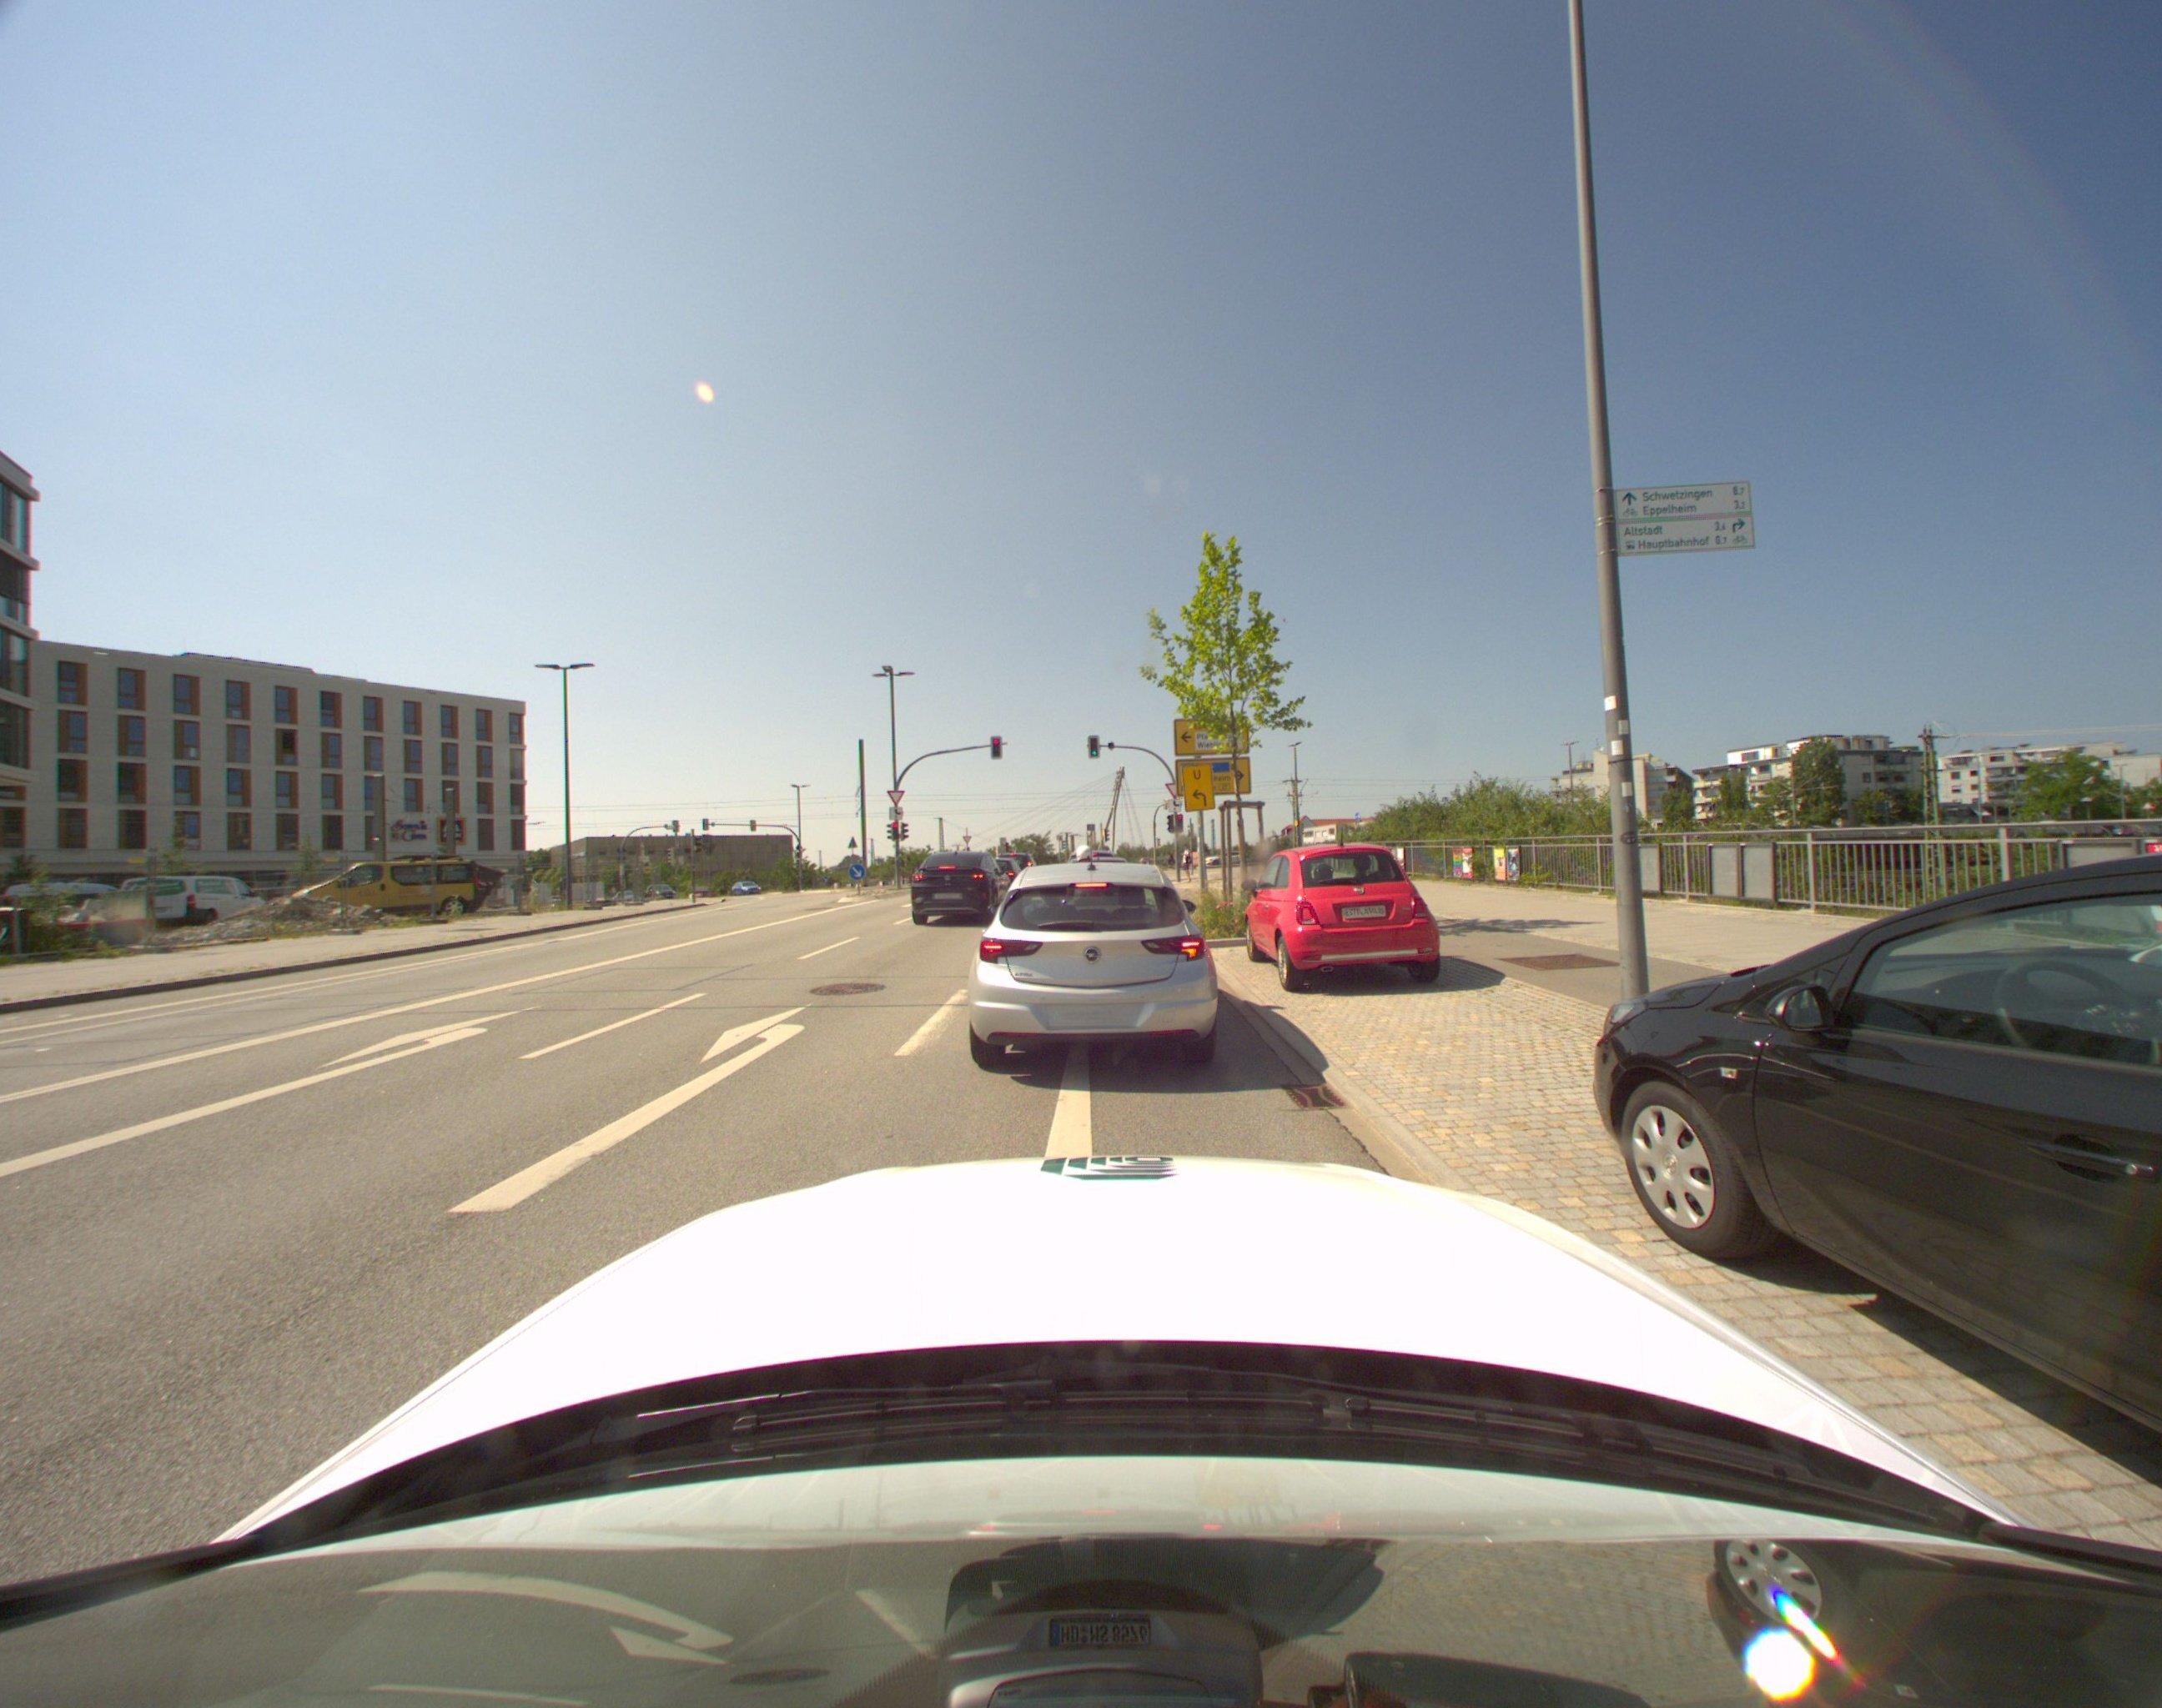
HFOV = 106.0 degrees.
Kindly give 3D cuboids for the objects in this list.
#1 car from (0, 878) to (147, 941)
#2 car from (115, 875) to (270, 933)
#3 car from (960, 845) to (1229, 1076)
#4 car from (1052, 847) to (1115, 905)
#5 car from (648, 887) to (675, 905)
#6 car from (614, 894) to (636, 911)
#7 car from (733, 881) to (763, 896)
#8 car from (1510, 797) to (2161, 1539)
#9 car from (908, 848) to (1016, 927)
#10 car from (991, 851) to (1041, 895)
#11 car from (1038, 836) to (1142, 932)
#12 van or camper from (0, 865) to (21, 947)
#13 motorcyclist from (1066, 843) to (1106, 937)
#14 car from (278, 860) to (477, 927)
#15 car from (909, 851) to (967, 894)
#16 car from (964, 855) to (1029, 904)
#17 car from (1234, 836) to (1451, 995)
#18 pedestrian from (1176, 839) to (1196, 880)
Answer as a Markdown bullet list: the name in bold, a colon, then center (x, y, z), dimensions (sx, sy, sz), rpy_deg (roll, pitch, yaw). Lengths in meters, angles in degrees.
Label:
- **car**: center (-33.637, 1.772, 27.234), dimensions (1.794, 1.857, 3.818), rpy_deg (0, -1, -26)
- **car**: center (-31.038, 1.686, 28.676), dimensions (1.873, 1.774, 4.619), rpy_deg (0, -1, -22)
- **car**: center (0.071, 0.701, 7.272), dimensions (1.738, 1.478, 3.998), rpy_deg (0, -1, -1)
- **car**: center (0.135, 0.592, 24.465), dimensions (1.717, 1.563, 4.002), rpy_deg (0, 1, 2)
- **car**: center (-38.563, 3.836, 74.835), dimensions (1.686, 1.476, 3.368), rpy_deg (-2, 0, -37)
- **car**: center (-46.232, 4.919, 82.527), dimensions (1.578, 1.587, 3.441), rpy_deg (0, -1, -35)
- **car**: center (-33.136, 3.440, 80.963), dimensions (1.831, 1.331, 3.954), rpy_deg (0, -2, -38)
- **car**: center (2.887, 0.576, 1.932), dimensions (1.654, 1.426, 4.001), rpy_deg (-2, -1, 1)
- **car**: center (-2.691, 0.727, 19.363), dimensions (1.795, 1.641, 4.367), rpy_deg (0, -1, 2)
- **car**: center (-2.465, 0.701, 31.754), dimensions (1.644, 1.615, 3.819), rpy_deg (0, -1, 0)
- **car**: center (0.247, 0.559, 17.887), dimensions (1.986, 1.820, 4.404), rpy_deg (0, 0, 2)
- **van or camper**: center (-36.464, 1.714, 25.295), dimensions (2.318, 2.735, 4.944), rpy_deg (0, -1, -26)
- **motorcyclist**: center (0.079, 0.540, 12.421), dimensions (0.579, 1.389, 0.707), rpy_deg (0, -1, 1)
- **car**: center (-22.688, 1.188, 26.431), dimensions (1.964, 1.962, 4.655), rpy_deg (-1, -1, 40)
- **car**: center (-5.416, 0.687, 31.256), dimensions (1.592, 1.547, 3.761), rpy_deg (0, -1, 0)
- **car**: center (-2.610, 0.774, 25.798), dimensions (1.569, 1.434, 3.786), rpy_deg (0, -1, 1)
- **car**: center (2.917, 0.607, 9.793), dimensions (1.603, 1.496, 3.355), rpy_deg (-4, 0, 3)
- **pedestrian**: center (4.803, 0.263, 37.412), dimensions (0.645, 1.836, 0.798), rpy_deg (-5, -1, 0)
